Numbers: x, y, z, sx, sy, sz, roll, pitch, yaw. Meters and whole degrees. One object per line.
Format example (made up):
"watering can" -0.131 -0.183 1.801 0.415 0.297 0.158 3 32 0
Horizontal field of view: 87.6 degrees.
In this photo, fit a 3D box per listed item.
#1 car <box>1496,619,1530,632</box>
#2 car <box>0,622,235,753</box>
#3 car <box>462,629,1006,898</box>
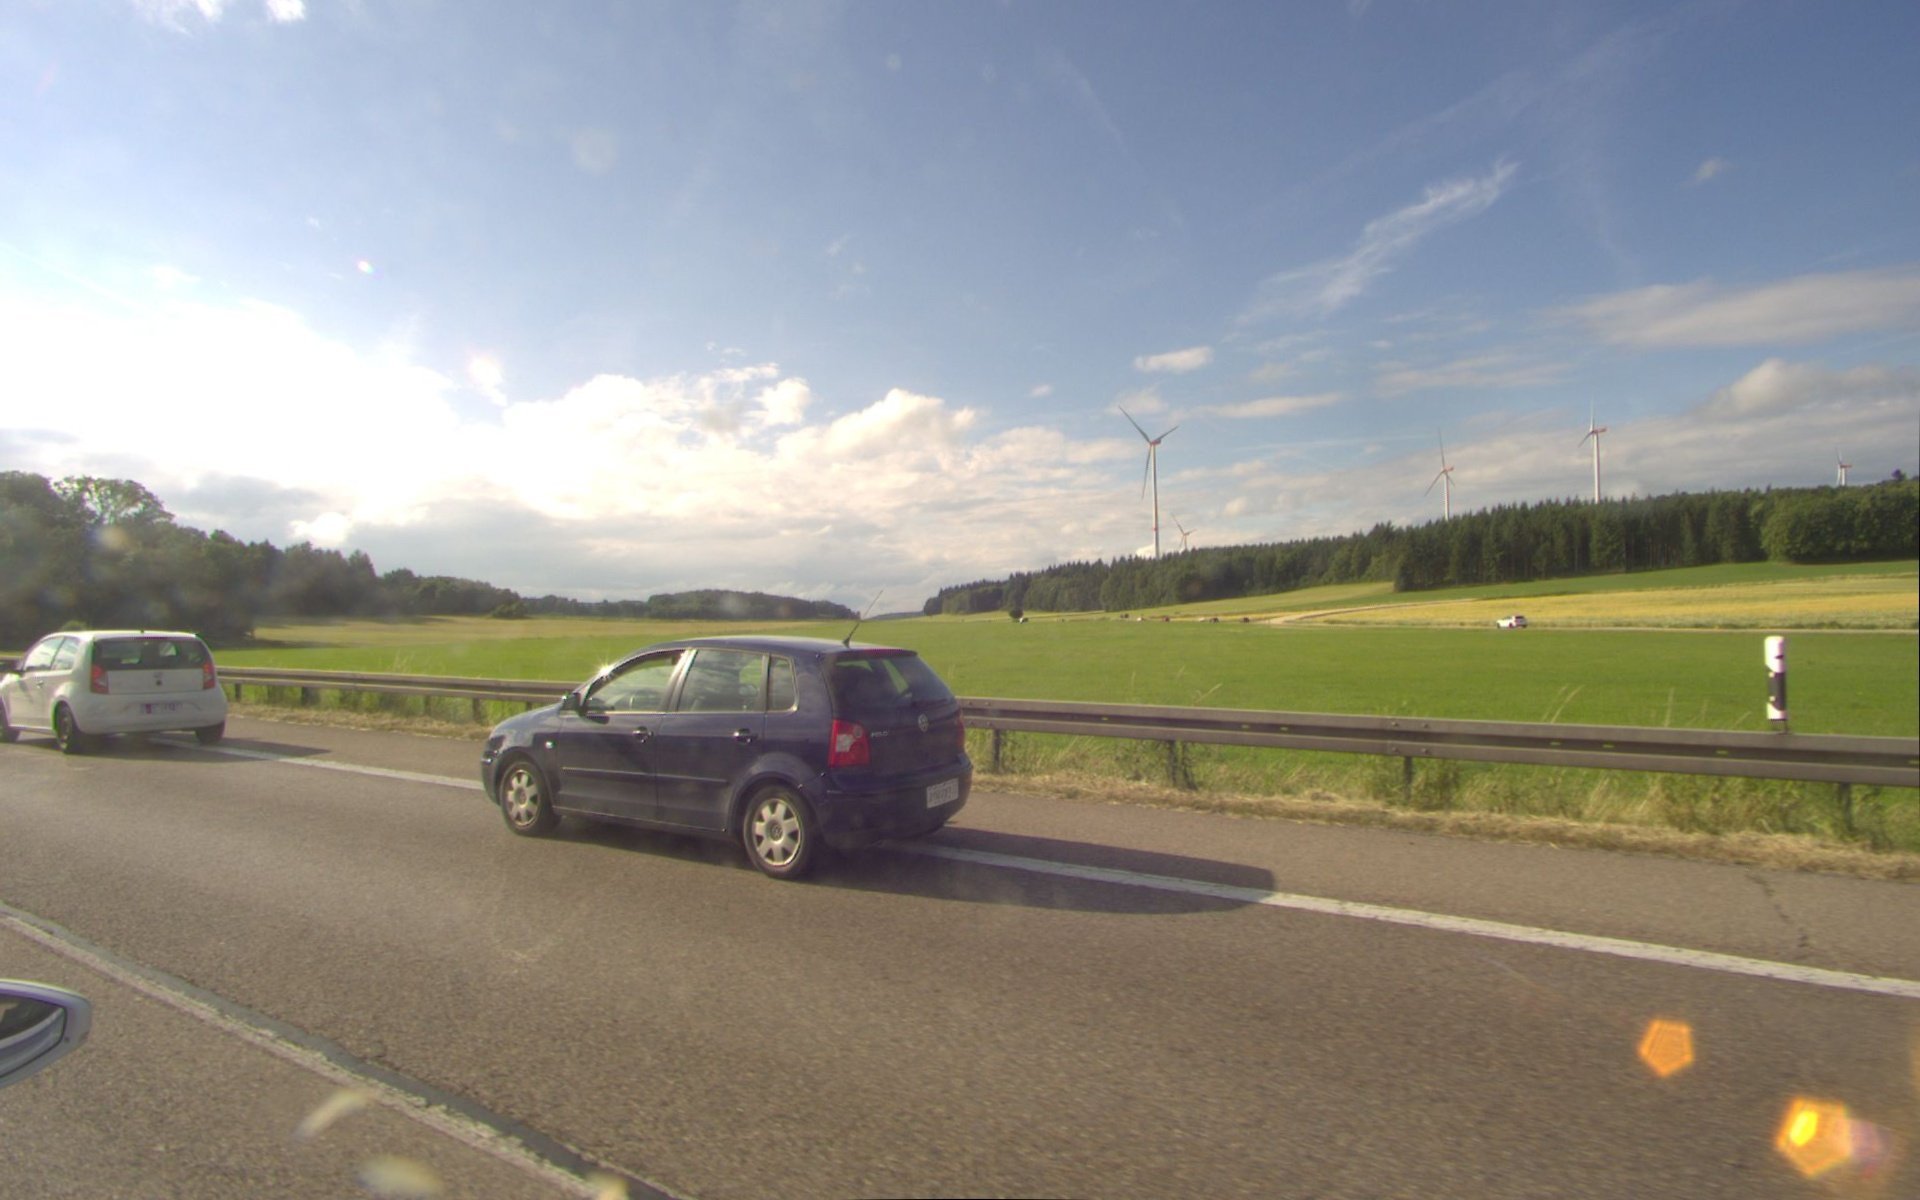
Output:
"car" 70.094 3.247 126.948 1.961 1.638 4.002 0 -2 -1
"car" -11.261 1.064 13.242 3.328 1.514 1.547 0 -1 31
"car" -1.703 0.963 7.203 3.721 1.464 1.707 -2 -2 32
